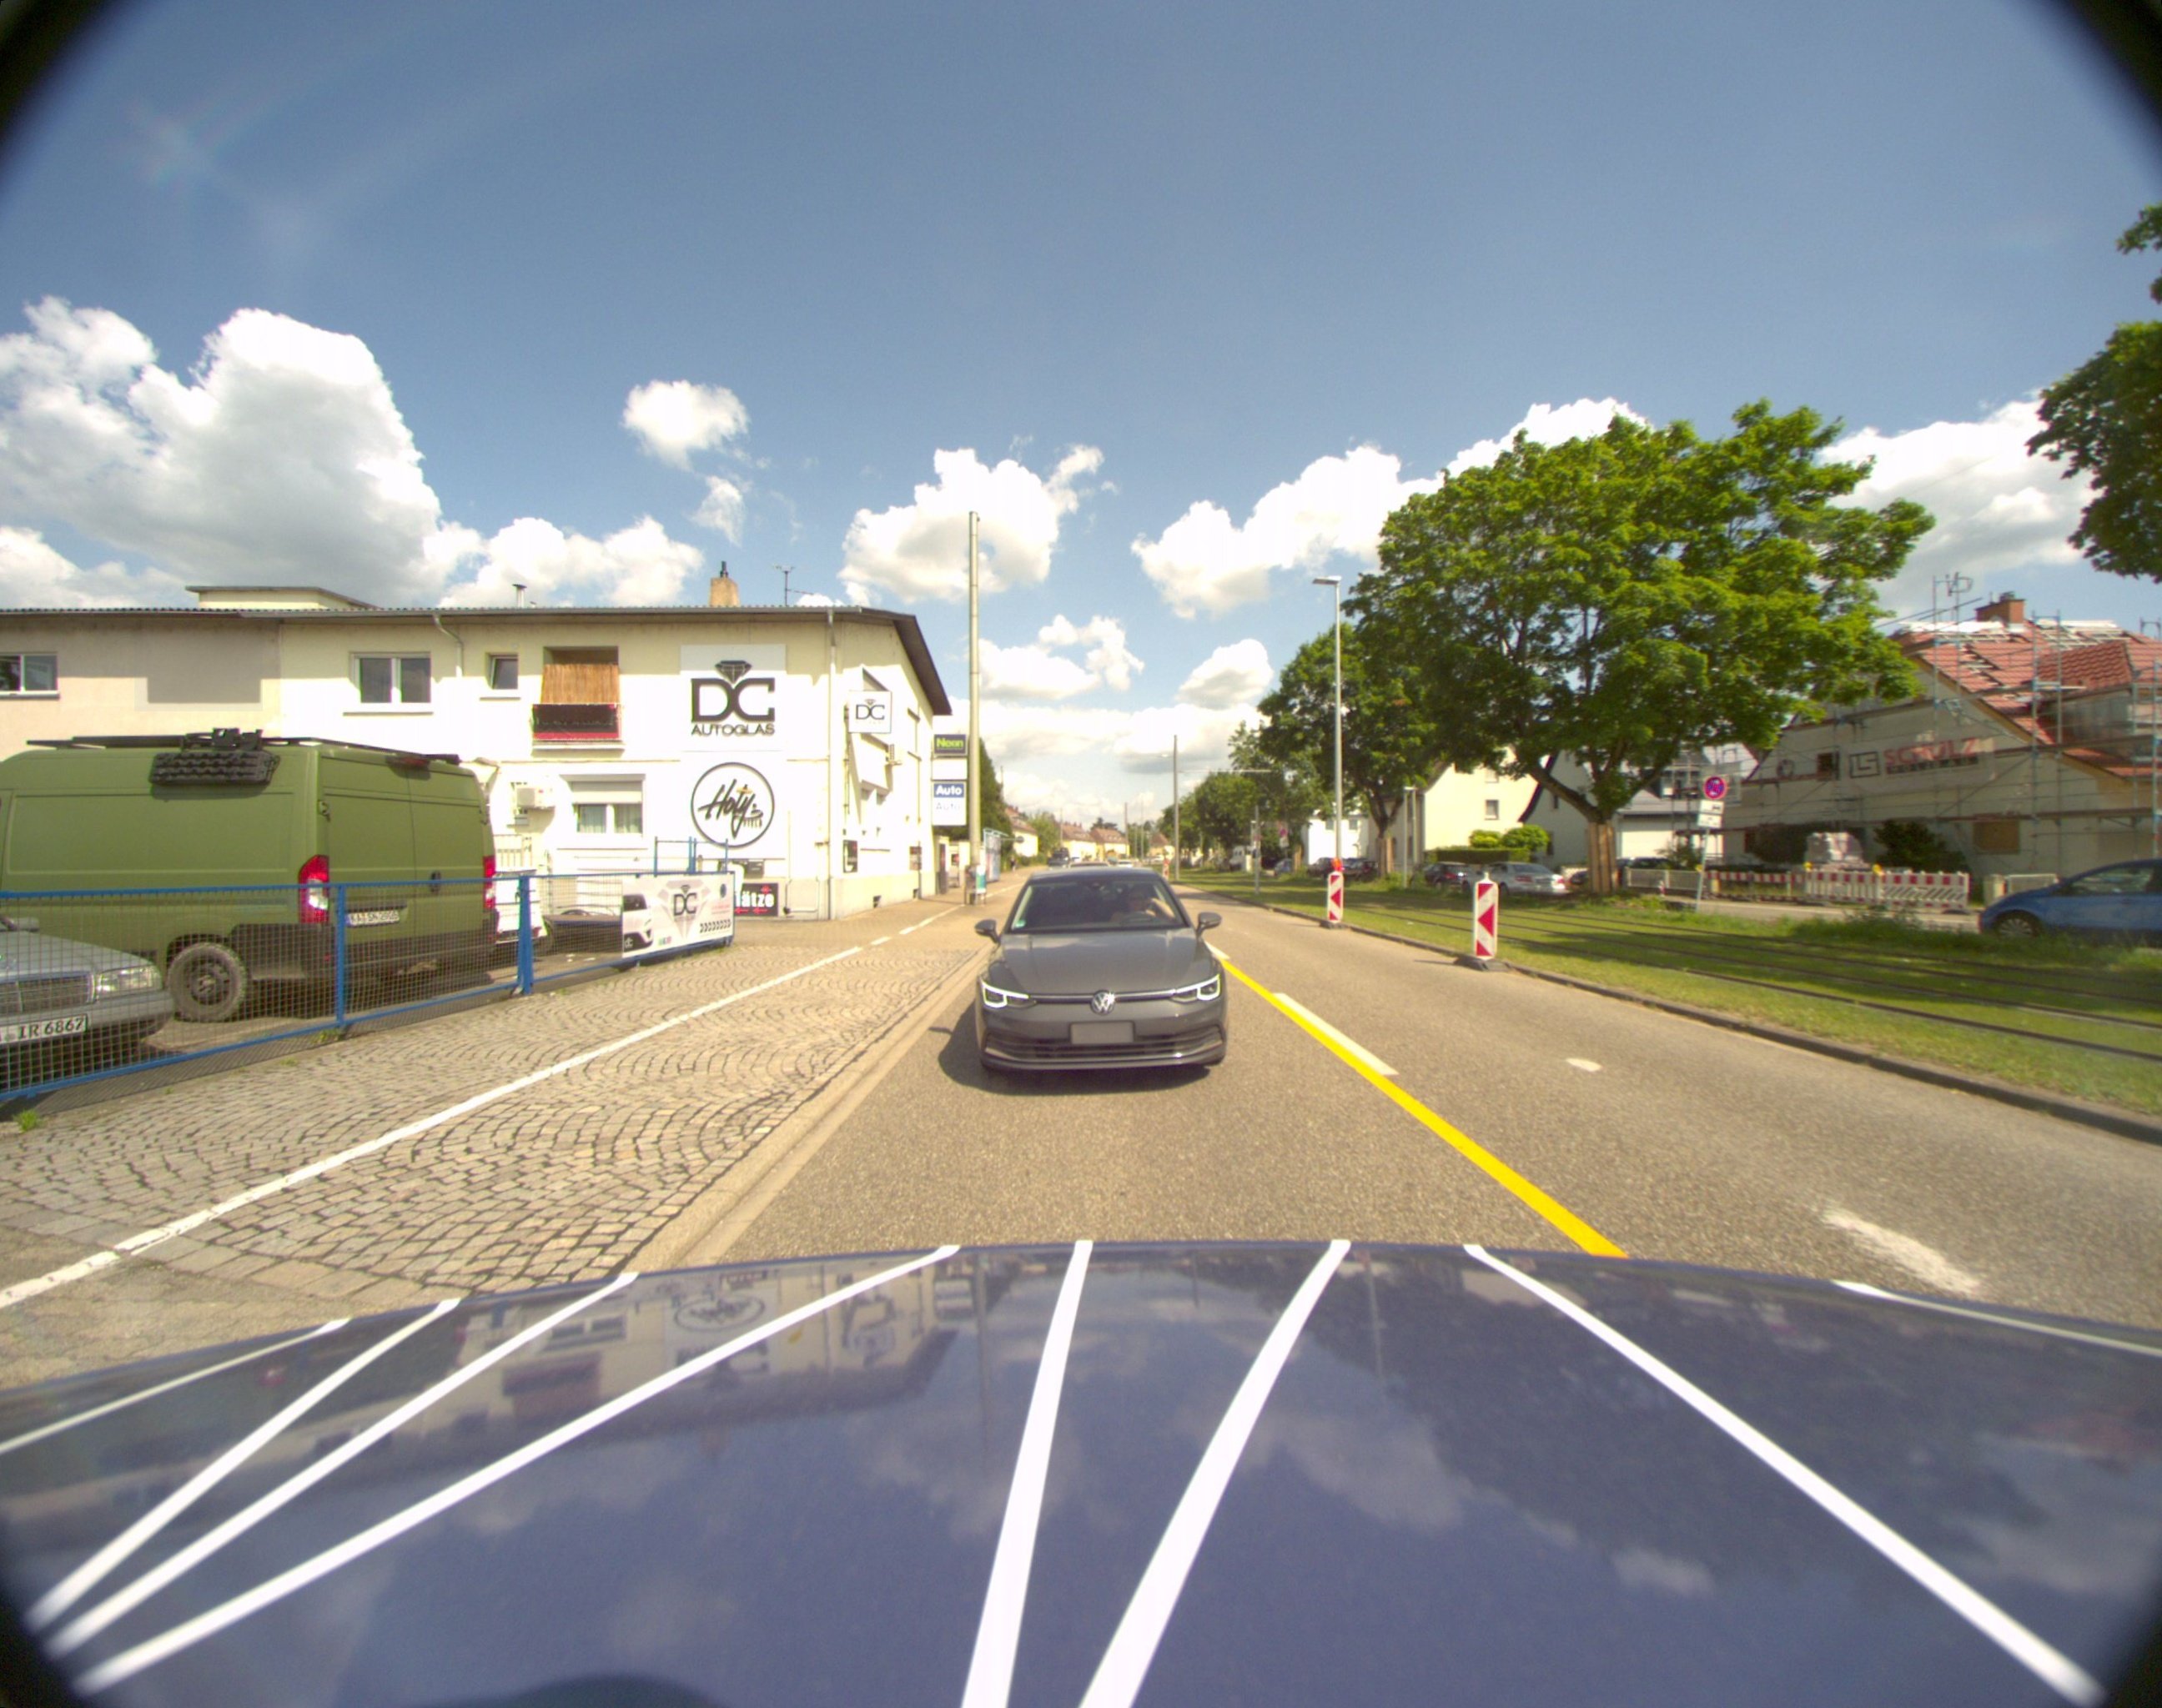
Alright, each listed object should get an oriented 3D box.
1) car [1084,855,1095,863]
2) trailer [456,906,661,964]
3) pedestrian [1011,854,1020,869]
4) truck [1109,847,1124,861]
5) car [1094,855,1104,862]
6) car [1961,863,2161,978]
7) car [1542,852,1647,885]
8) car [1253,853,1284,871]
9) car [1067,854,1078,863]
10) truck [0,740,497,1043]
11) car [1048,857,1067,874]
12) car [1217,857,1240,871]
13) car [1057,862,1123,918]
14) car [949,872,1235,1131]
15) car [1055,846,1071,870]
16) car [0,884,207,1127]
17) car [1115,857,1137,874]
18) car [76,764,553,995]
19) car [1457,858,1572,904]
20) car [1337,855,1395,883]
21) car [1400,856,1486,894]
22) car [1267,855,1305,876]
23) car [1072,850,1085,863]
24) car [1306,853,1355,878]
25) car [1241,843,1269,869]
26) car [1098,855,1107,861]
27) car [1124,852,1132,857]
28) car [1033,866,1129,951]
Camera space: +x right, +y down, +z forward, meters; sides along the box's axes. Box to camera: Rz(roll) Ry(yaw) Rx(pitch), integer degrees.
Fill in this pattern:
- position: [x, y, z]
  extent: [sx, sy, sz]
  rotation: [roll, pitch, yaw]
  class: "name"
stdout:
- position: [1.807, 0.980, 155.308]
  extent: [1.718, 1.470, 4.011]
  rotation: [0, 0, 8]
  class: "car"
- position: [-8.067, 1.238, 11.842]
  extent: [2.329, 0.762, 1.269]
  rotation: [0, 0, 2]
  class: "trailer"
- position: [-6.780, 0.808, 78.892]
  extent: [0.816, 1.577, 0.918]
  rotation: [0, 0, 1]
  class: "pedestrian"
- position: [9.397, 0.011, 201.141]
  extent: [2.590, 3.431, 8.585]
  rotation: [0, 0, 11]
  class: "truck"
- position: [4.097, 0.986, 172.742]
  extent: [1.718, 1.470, 4.011]
  rotation: [0, 0, 8]
  class: "car"
- position: [16.241, 0.959, 11.239]
  extent: [1.755, 1.602, 4.050]
  rotation: [0, 0, 0]
  class: "car"
- position: [25.506, 0.720, 37.839]
  extent: [4.047, 1.602, 1.757]
  rotation: [0, 0, 1]
  class: "car"
- position: [17.578, 0.753, 71.502]
  extent: [1.755, 1.602, 4.606]
  rotation: [0, 0, 0]
  class: "car"
- position: [-1.372, 0.732, 122.964]
  extent: [1.720, 1.470, 4.009]
  rotation: [0, 0, 0]
  class: "car"
- position: [-8.628, 0.329, 7.572]
  extent: [3.997, 2.592, 2.069]
  rotation: [0, 0, 1]
  class: "truck"
- position: [-2.167, 1.063, 70.993]
  extent: [1.720, 1.470, 4.009]
  rotation: [0, 0, 0]
  class: "car"
- position: [16.926, 1.148, 87.276]
  extent: [1.755, 1.602, 4.606]
  rotation: [0, 0, 0]
  class: "car"
- position: [0.270, 0.989, 22.588]
  extent: [1.787, 1.470, 4.009]
  rotation: [0, 0, 1]
  class: "car"
- position: [0.095, 0.938, 6.581]
  extent: [1.719, 1.470, 4.009]
  rotation: [0, 0, 1]
  class: "car"
- position: [-1.924, 0.407, 82.854]
  extent: [1.720, 2.526, 5.794]
  rotation: [0, 0, 0]
  class: "car"
- position: [-8.441, 0.918, 4.816]
  extent: [4.206, 1.388, 1.804]
  rotation: [0, 0, 8]
  class: "car"
- position: [3.944, 0.967, 66.704]
  extent: [1.719, 1.405, 4.262]
  rotation: [0, 0, 1]
  class: "car"
- position: [-9.459, 0.302, 9.657]
  extent: [4.209, 2.653, 1.803]
  rotation: [0, 0, 0]
  class: "car"
- position: [16.383, 0.964, 29.013]
  extent: [1.755, 1.602, 4.606]
  rotation: [0, 0, 0]
  class: "car"
- position: [16.895, 0.849, 45.274]
  extent: [1.755, 1.602, 4.606]
  rotation: [0, 0, 0]
  class: "car"
- position: [16.584, 0.916, 35.036]
  extent: [1.755, 1.602, 4.606]
  rotation: [0, 0, 0]
  class: "car"
- position: [16.489, 0.914, 61.363]
  extent: [1.755, 1.602, 4.606]
  rotation: [0, 0, 0]
  class: "car"
- position: [-0.436, 0.393, 136.328]
  extent: [1.719, 2.360, 5.211]
  rotation: [0, 0, 5]
  class: "car"
- position: [16.673, 0.762, 50.913]
  extent: [1.755, 1.602, 4.606]
  rotation: [0, 0, 0]
  class: "car"
- position: [17.639, 0.194, 77.078]
  extent: [1.755, 2.601, 4.606]
  rotation: [0, 0, 0]
  class: "car"
- position: [5.170, 0.988, 179.092]
  extent: [1.718, 1.470, 4.011]
  rotation: [0, 0, 8]
  class: "car"
- position: [13.523, 0.224, 218.483]
  extent: [1.718, 1.470, 4.013]
  rotation: [0, 0, 13]
  class: "car"
- position: [0.033, 1.006, 15.649]
  extent: [1.719, 1.470, 4.009]
  rotation: [0, 0, 1]
  class: "car"
